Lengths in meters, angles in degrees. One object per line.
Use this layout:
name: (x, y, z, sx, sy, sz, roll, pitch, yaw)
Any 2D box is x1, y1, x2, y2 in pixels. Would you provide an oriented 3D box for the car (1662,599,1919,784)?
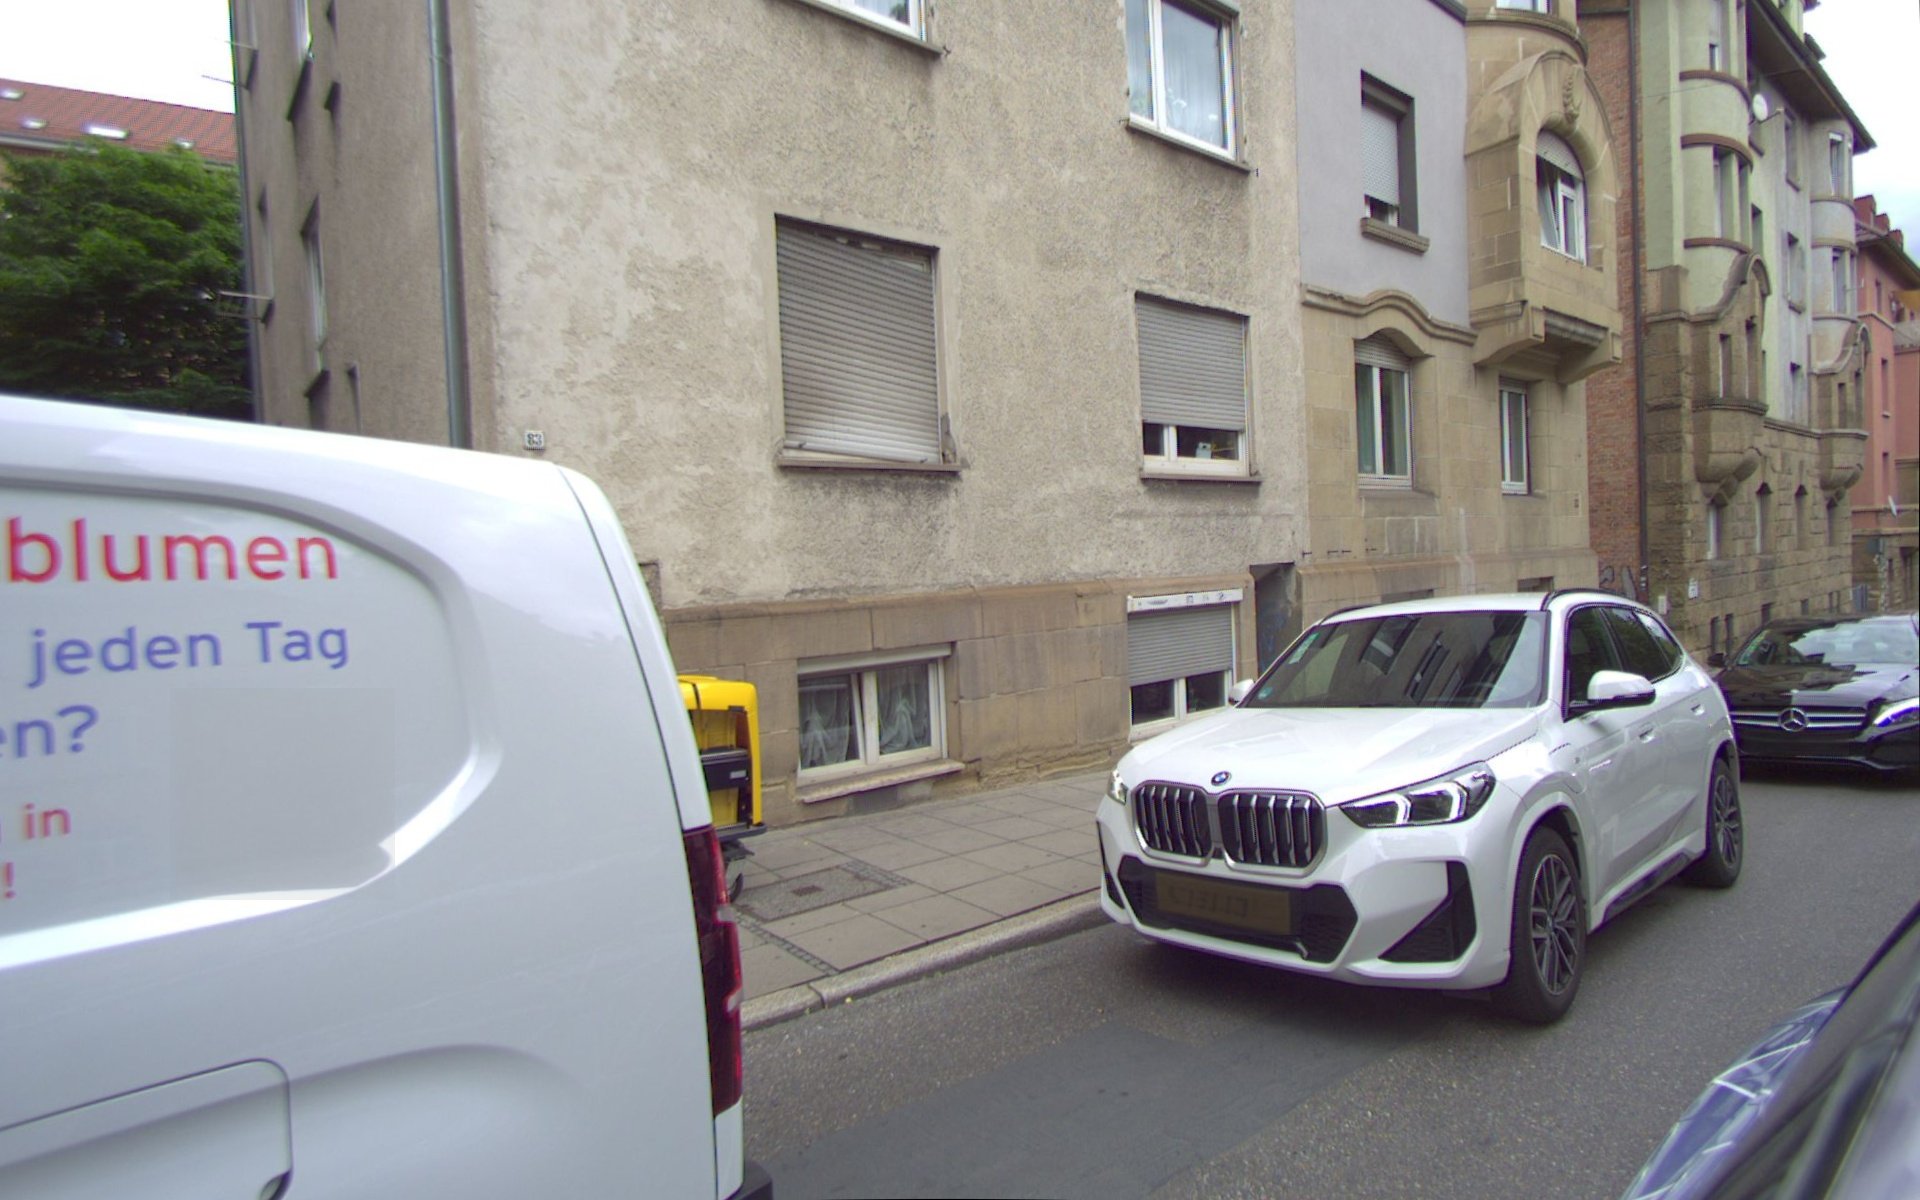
car: (8.454, 0.731, 9.623, 4.132, 1.395, 1.882, -1, -3, -41)

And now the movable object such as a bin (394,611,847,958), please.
movable object such as a bin: (-1.767, 0.795, 5.410, 1.979, 1.391, 1.223, -1, 2, -43)

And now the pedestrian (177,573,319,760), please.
pedestrian: (-6.920, 0.610, 9.849, 0.806, 1.666, 0.775, -1, 5, 35)

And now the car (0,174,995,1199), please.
car: (-2.310, 0.560, 0.933, 4.597, 1.798, 1.977, -1, -3, -42)

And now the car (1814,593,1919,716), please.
car: (13.587, 0.658, 13.972, 4.226, 1.534, 1.935, -1, -3, -40)

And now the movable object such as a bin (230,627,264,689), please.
movable object such as a bin: (-10.989, 0.886, 15.593, 0.405, 0.923, 0.340, 0, 0, -40)

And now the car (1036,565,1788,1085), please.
car: (2.582, 0.721, 5.221, 4.276, 1.576, 1.857, -1, -4, -42)
